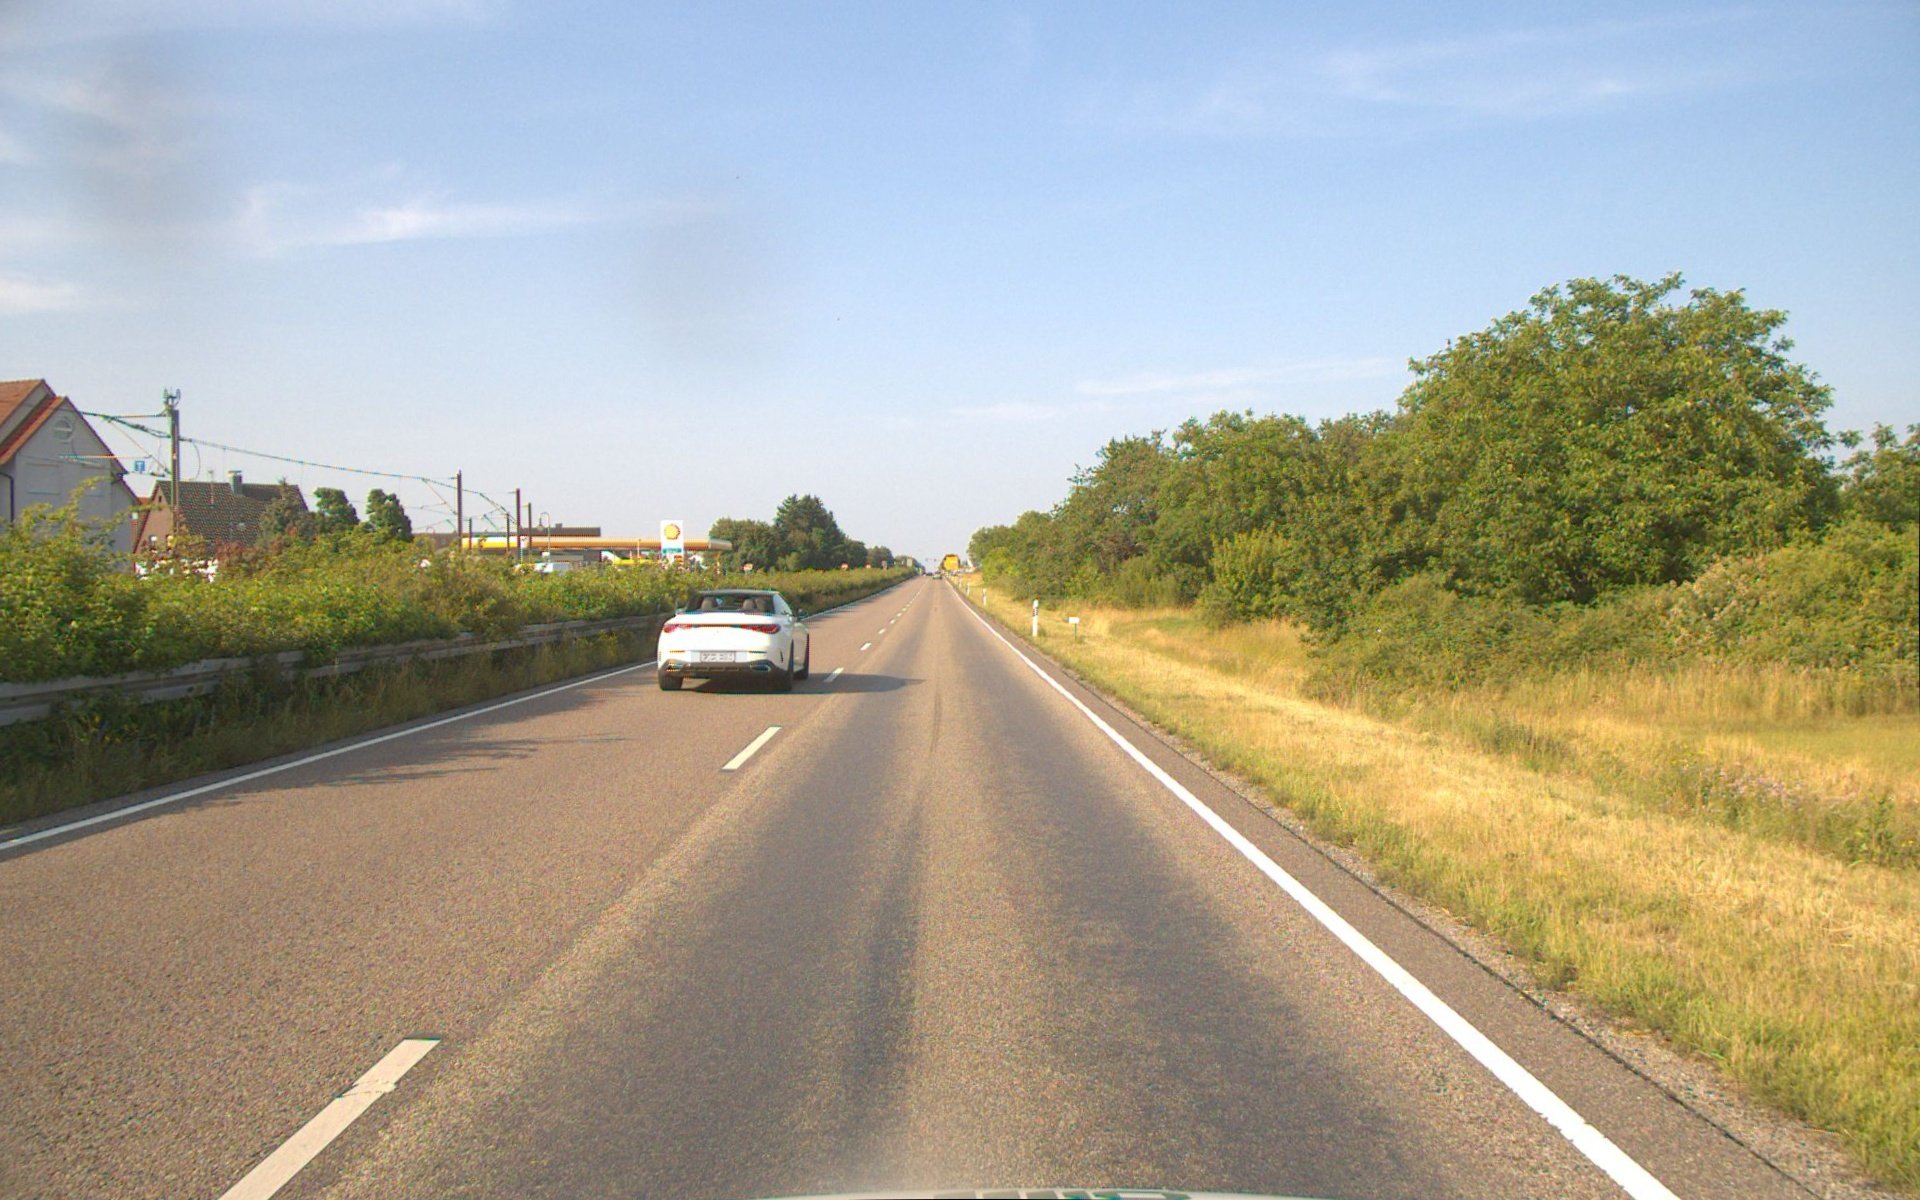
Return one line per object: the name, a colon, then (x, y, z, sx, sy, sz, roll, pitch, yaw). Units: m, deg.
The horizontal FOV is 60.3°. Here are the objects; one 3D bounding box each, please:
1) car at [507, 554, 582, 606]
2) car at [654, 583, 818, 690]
car: (-17.116, -0.824, 68.378, 1.953, 2.049, 4.871, 1, 1, -1)
car: (-3.142, 0.453, 24.124, 1.735, 1.361, 4.950, 1, 1, -1)
